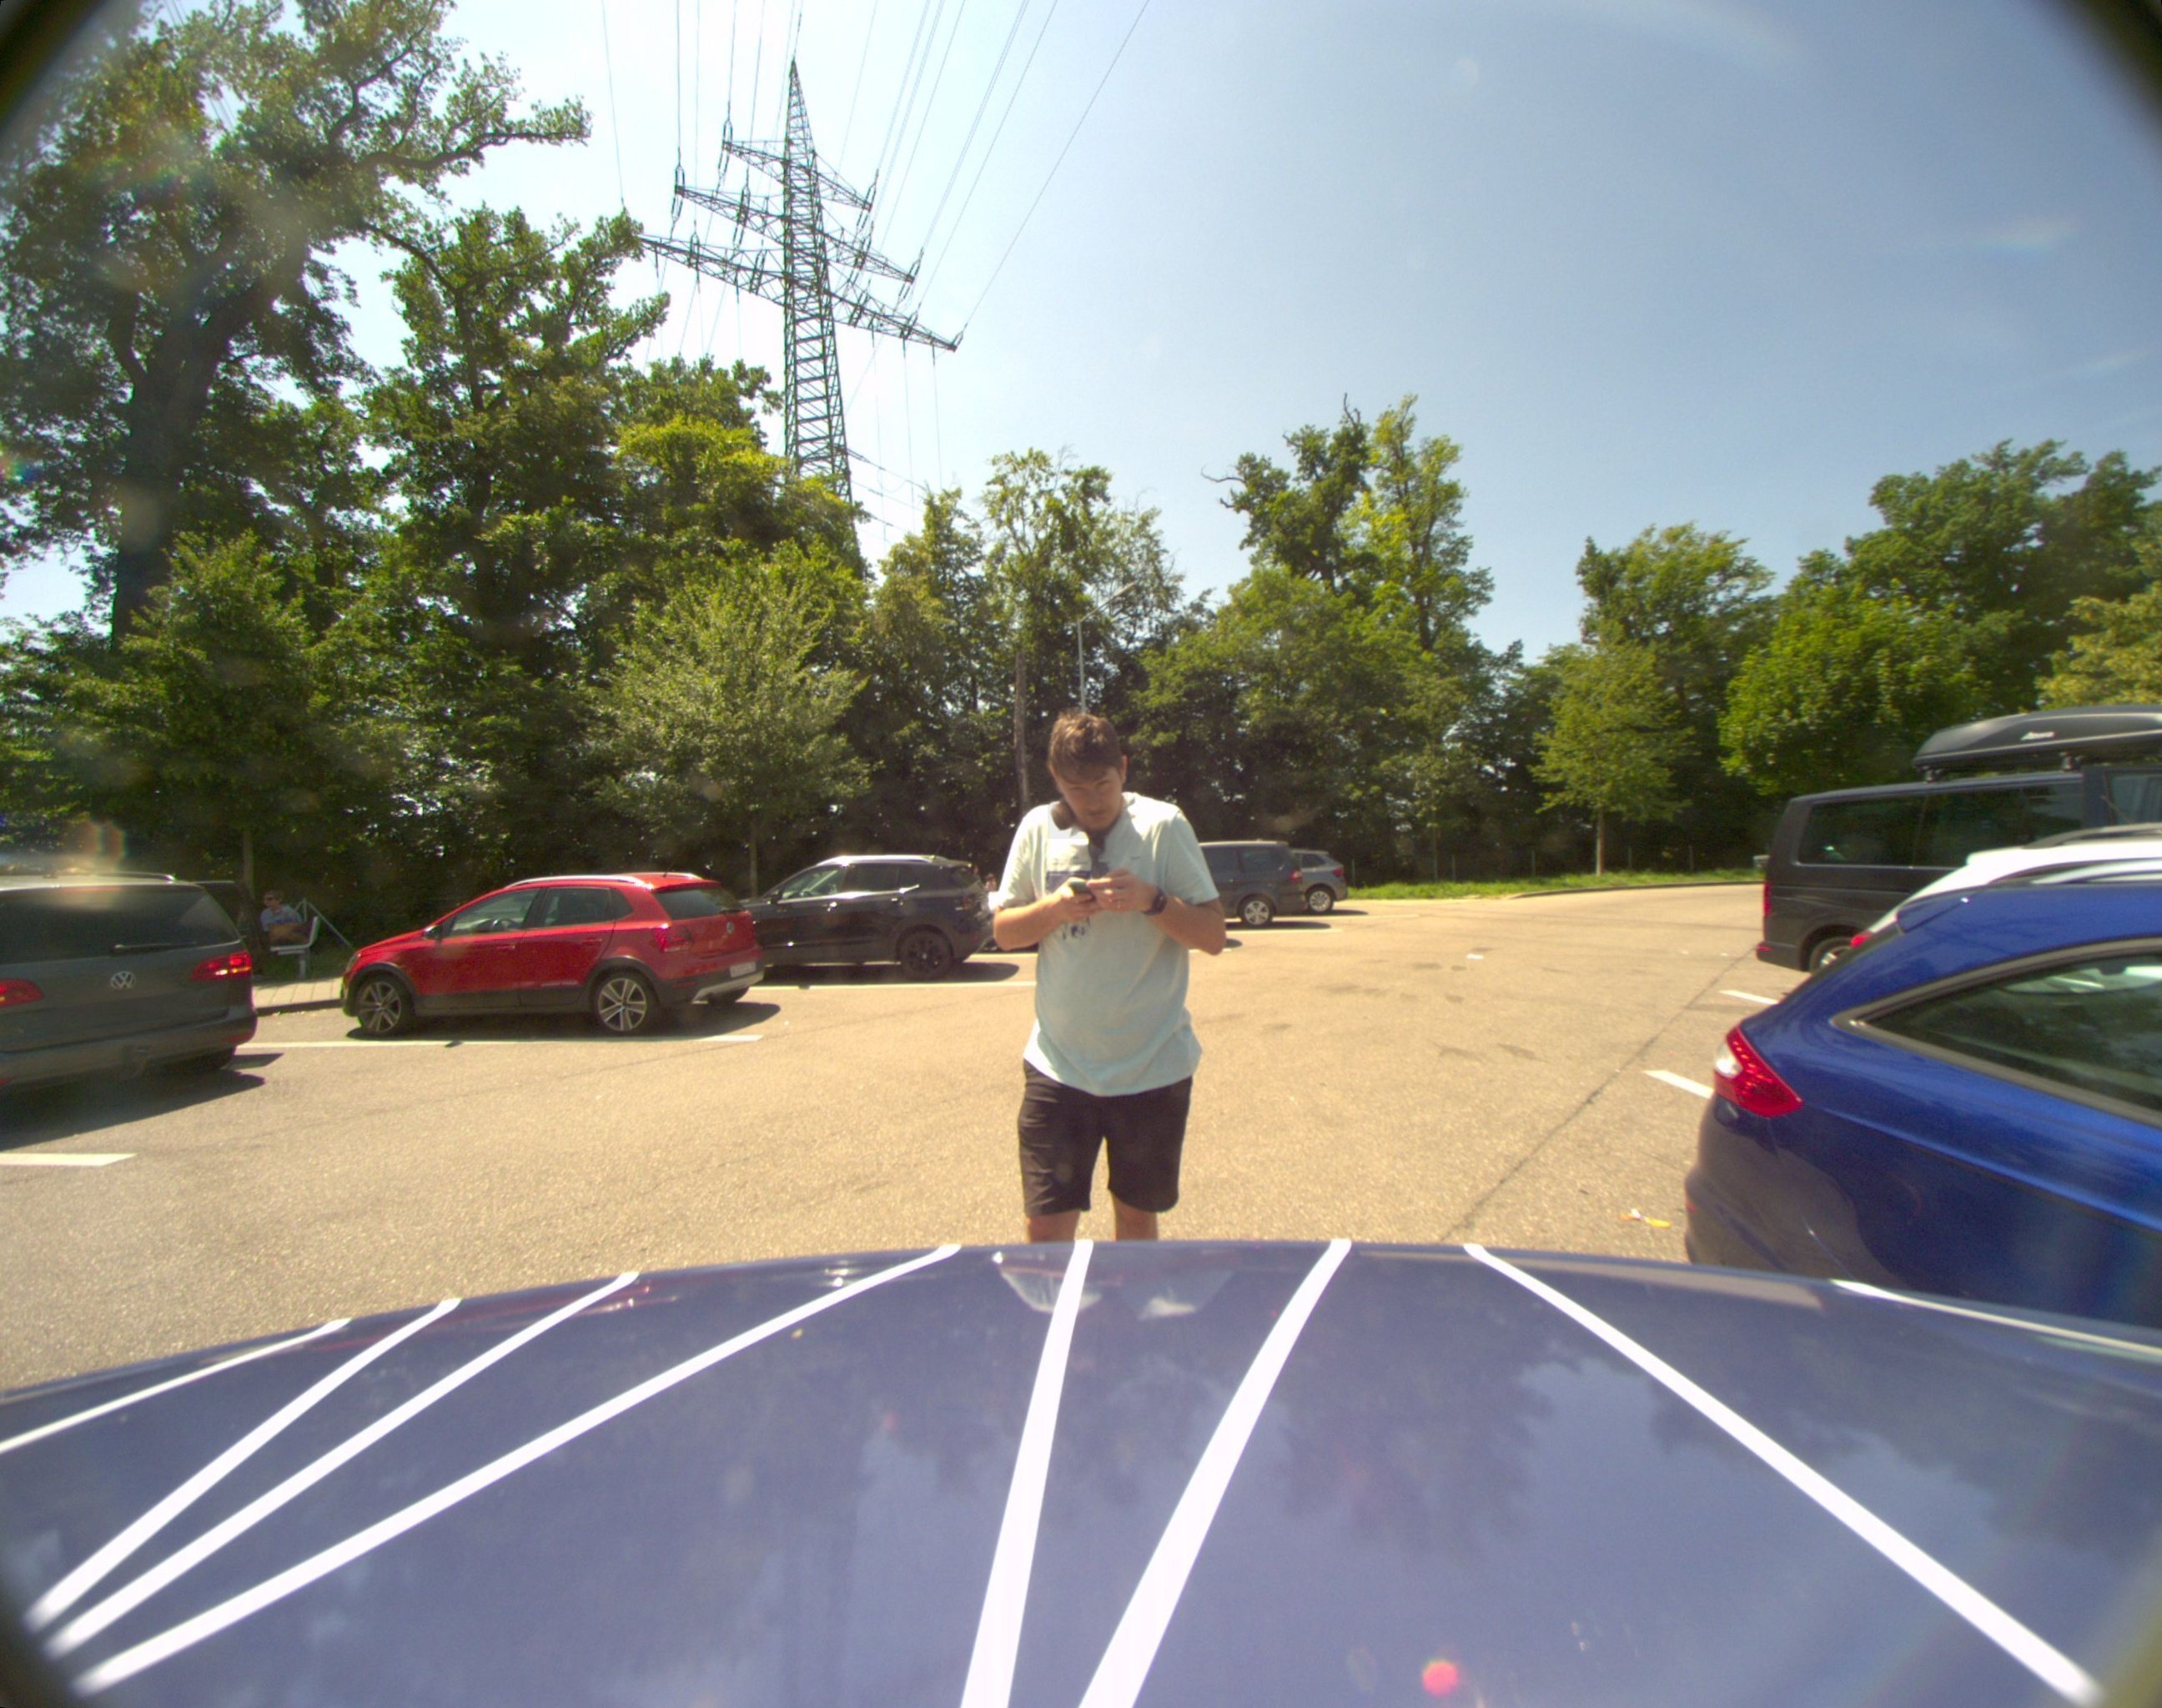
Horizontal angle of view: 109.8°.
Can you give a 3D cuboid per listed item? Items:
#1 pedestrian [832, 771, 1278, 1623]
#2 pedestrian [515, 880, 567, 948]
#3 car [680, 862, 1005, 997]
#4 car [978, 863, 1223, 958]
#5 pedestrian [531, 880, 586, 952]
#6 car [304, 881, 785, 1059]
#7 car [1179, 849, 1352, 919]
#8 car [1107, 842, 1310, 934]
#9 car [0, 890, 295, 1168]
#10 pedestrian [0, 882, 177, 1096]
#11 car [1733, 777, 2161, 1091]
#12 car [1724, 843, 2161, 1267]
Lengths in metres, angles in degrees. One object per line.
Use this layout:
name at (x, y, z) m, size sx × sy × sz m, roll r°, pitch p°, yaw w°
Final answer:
pedestrian at (-0.046, 0.753, 1.950) m, size 0.890 × 1.831 × 0.622 m, roll -2°, pitch 1°, yaw 1°
pedestrian at (-10.906, 1.193, 15.347) m, size 0.782 × 1.287 × 0.670 m, roll -1°, pitch 1°, yaw 45°
car at (-3.063, 0.952, 10.289) m, size 3.787 × 1.564 × 1.721 m, roll -2°, pitch 1°, yaw 2°
car at (0.368, 0.912, 12.754) m, size 3.819 × 1.377 × 1.722 m, roll -2°, pitch 1°, yaw 6°
pedestrian at (-9.994, 1.165, 14.528) m, size 0.782 × 1.287 × 0.670 m, roll -1°, pitch 1°, yaw 45°
car at (-5.236, 1.083, 7.678) m, size 3.785 × 1.457 × 1.722 m, roll -1°, pitch 1°, yaw 9°
car at (4.344, 0.701, 18.182) m, size 3.818 × 1.530 × 1.722 m, roll -1°, pitch 1°, yaw 12°
car at (2.592, 0.679, 15.480) m, size 3.818 × 1.714 × 1.722 m, roll -1°, pitch 1°, yaw 12°
car at (-8.288, 1.125, 5.469) m, size 3.985 × 1.572 × 1.749 m, roll -1°, pitch 1°, yaw 12°
pedestrian at (-8.642, 1.110, 6.521) m, size 0.918 × 1.672 × 0.734 m, roll -2°, pitch 1°, yaw 13°
car at (7.323, 0.436, 4.940) m, size 1.961 × 1.858 × 4.642 m, roll -3°, pitch -1°, yaw -3°
car at (4.876, 0.725, 2.310) m, size 1.741 × 1.524 × 4.642 m, roll -3°, pitch -1°, yaw -2°
